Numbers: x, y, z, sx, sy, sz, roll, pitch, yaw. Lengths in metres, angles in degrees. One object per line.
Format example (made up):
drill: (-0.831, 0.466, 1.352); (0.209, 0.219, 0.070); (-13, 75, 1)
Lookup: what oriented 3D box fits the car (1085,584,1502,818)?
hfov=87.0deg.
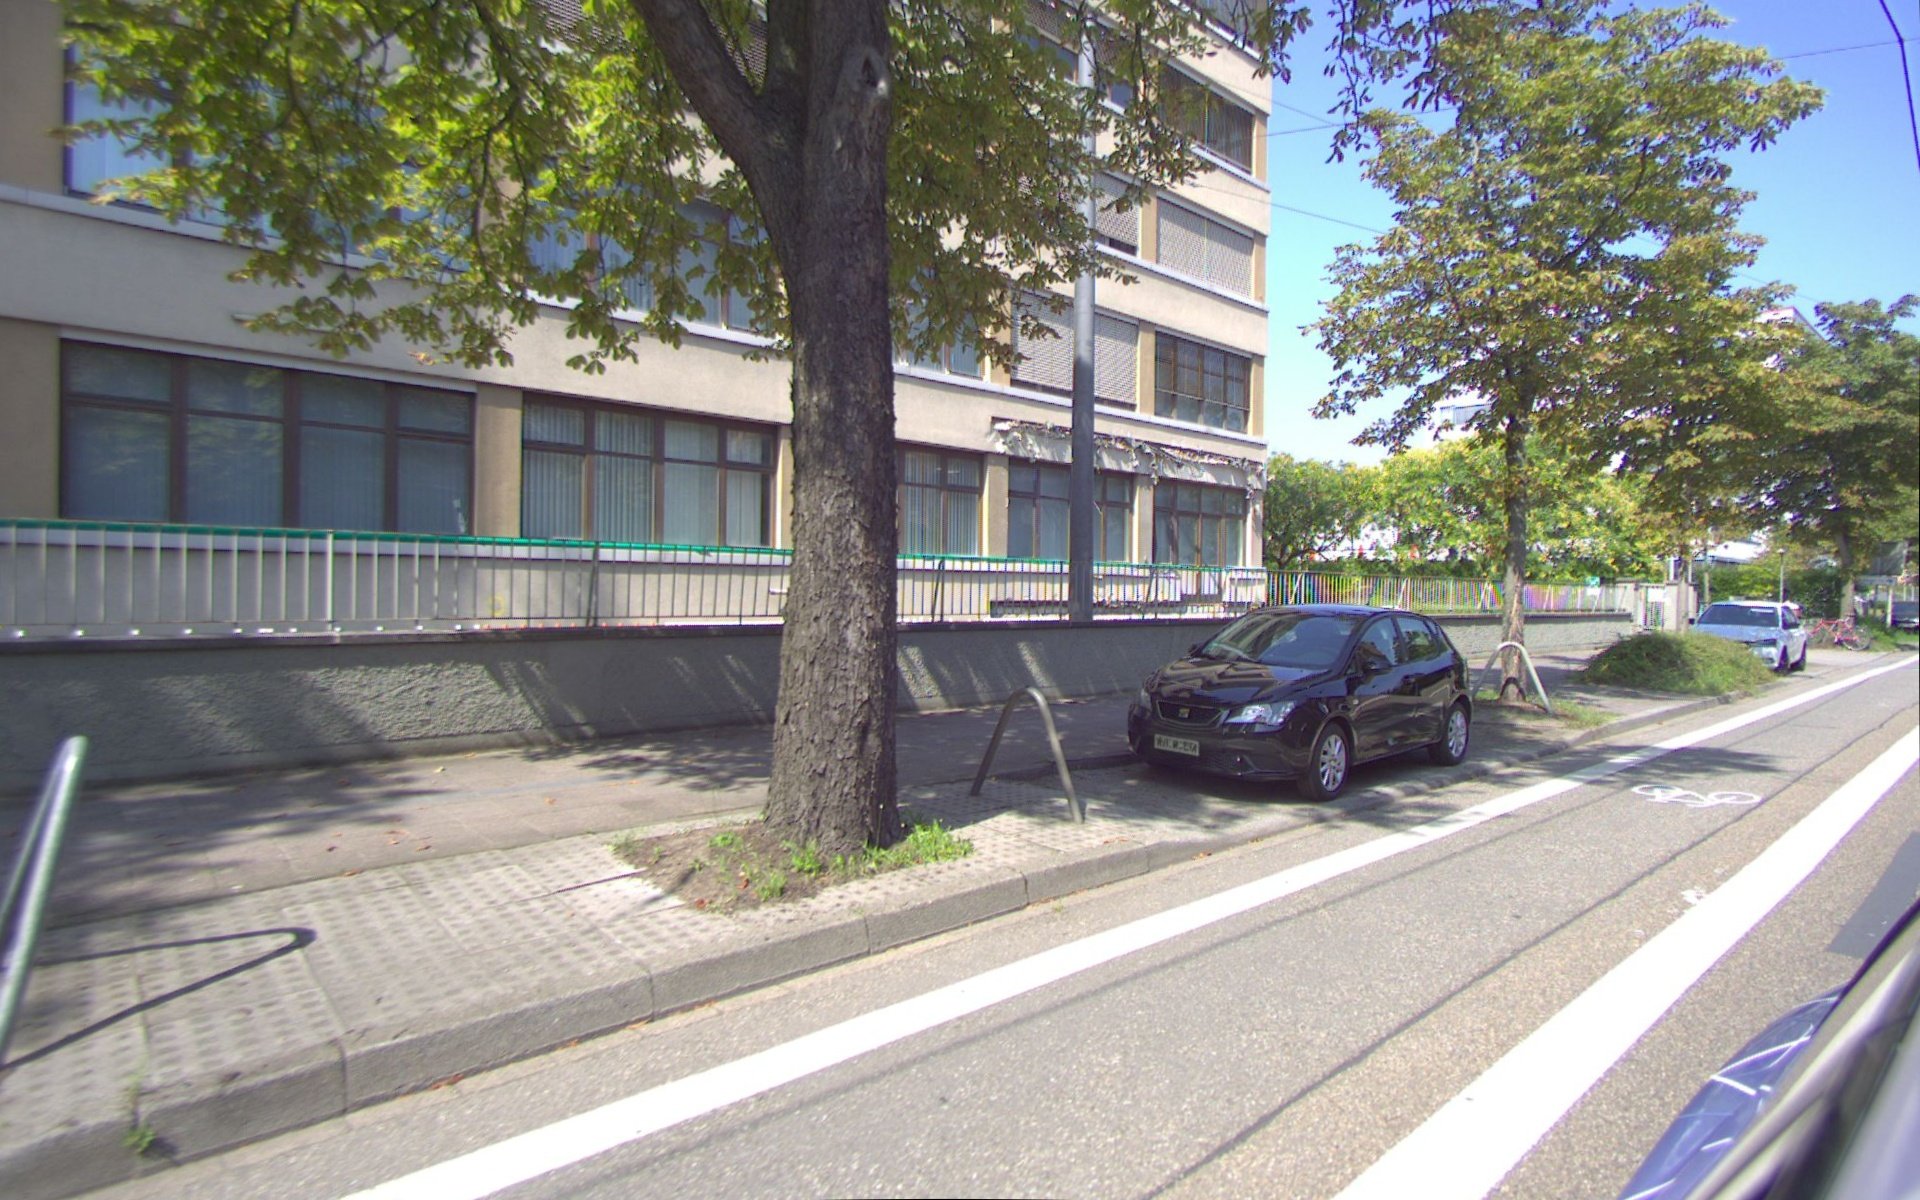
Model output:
car: (2.997, 0.662, 8.671); (3.925, 1.491, 1.641); (0, 3, -42)

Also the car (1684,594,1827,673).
car: (16.552, 0.624, 21.004); (3.809, 1.492, 1.641); (0, 0, -40)

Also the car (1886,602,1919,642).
car: (38.902, 0.861, 40.702); (3.930, 1.549, 1.997); (0, 0, -41)
